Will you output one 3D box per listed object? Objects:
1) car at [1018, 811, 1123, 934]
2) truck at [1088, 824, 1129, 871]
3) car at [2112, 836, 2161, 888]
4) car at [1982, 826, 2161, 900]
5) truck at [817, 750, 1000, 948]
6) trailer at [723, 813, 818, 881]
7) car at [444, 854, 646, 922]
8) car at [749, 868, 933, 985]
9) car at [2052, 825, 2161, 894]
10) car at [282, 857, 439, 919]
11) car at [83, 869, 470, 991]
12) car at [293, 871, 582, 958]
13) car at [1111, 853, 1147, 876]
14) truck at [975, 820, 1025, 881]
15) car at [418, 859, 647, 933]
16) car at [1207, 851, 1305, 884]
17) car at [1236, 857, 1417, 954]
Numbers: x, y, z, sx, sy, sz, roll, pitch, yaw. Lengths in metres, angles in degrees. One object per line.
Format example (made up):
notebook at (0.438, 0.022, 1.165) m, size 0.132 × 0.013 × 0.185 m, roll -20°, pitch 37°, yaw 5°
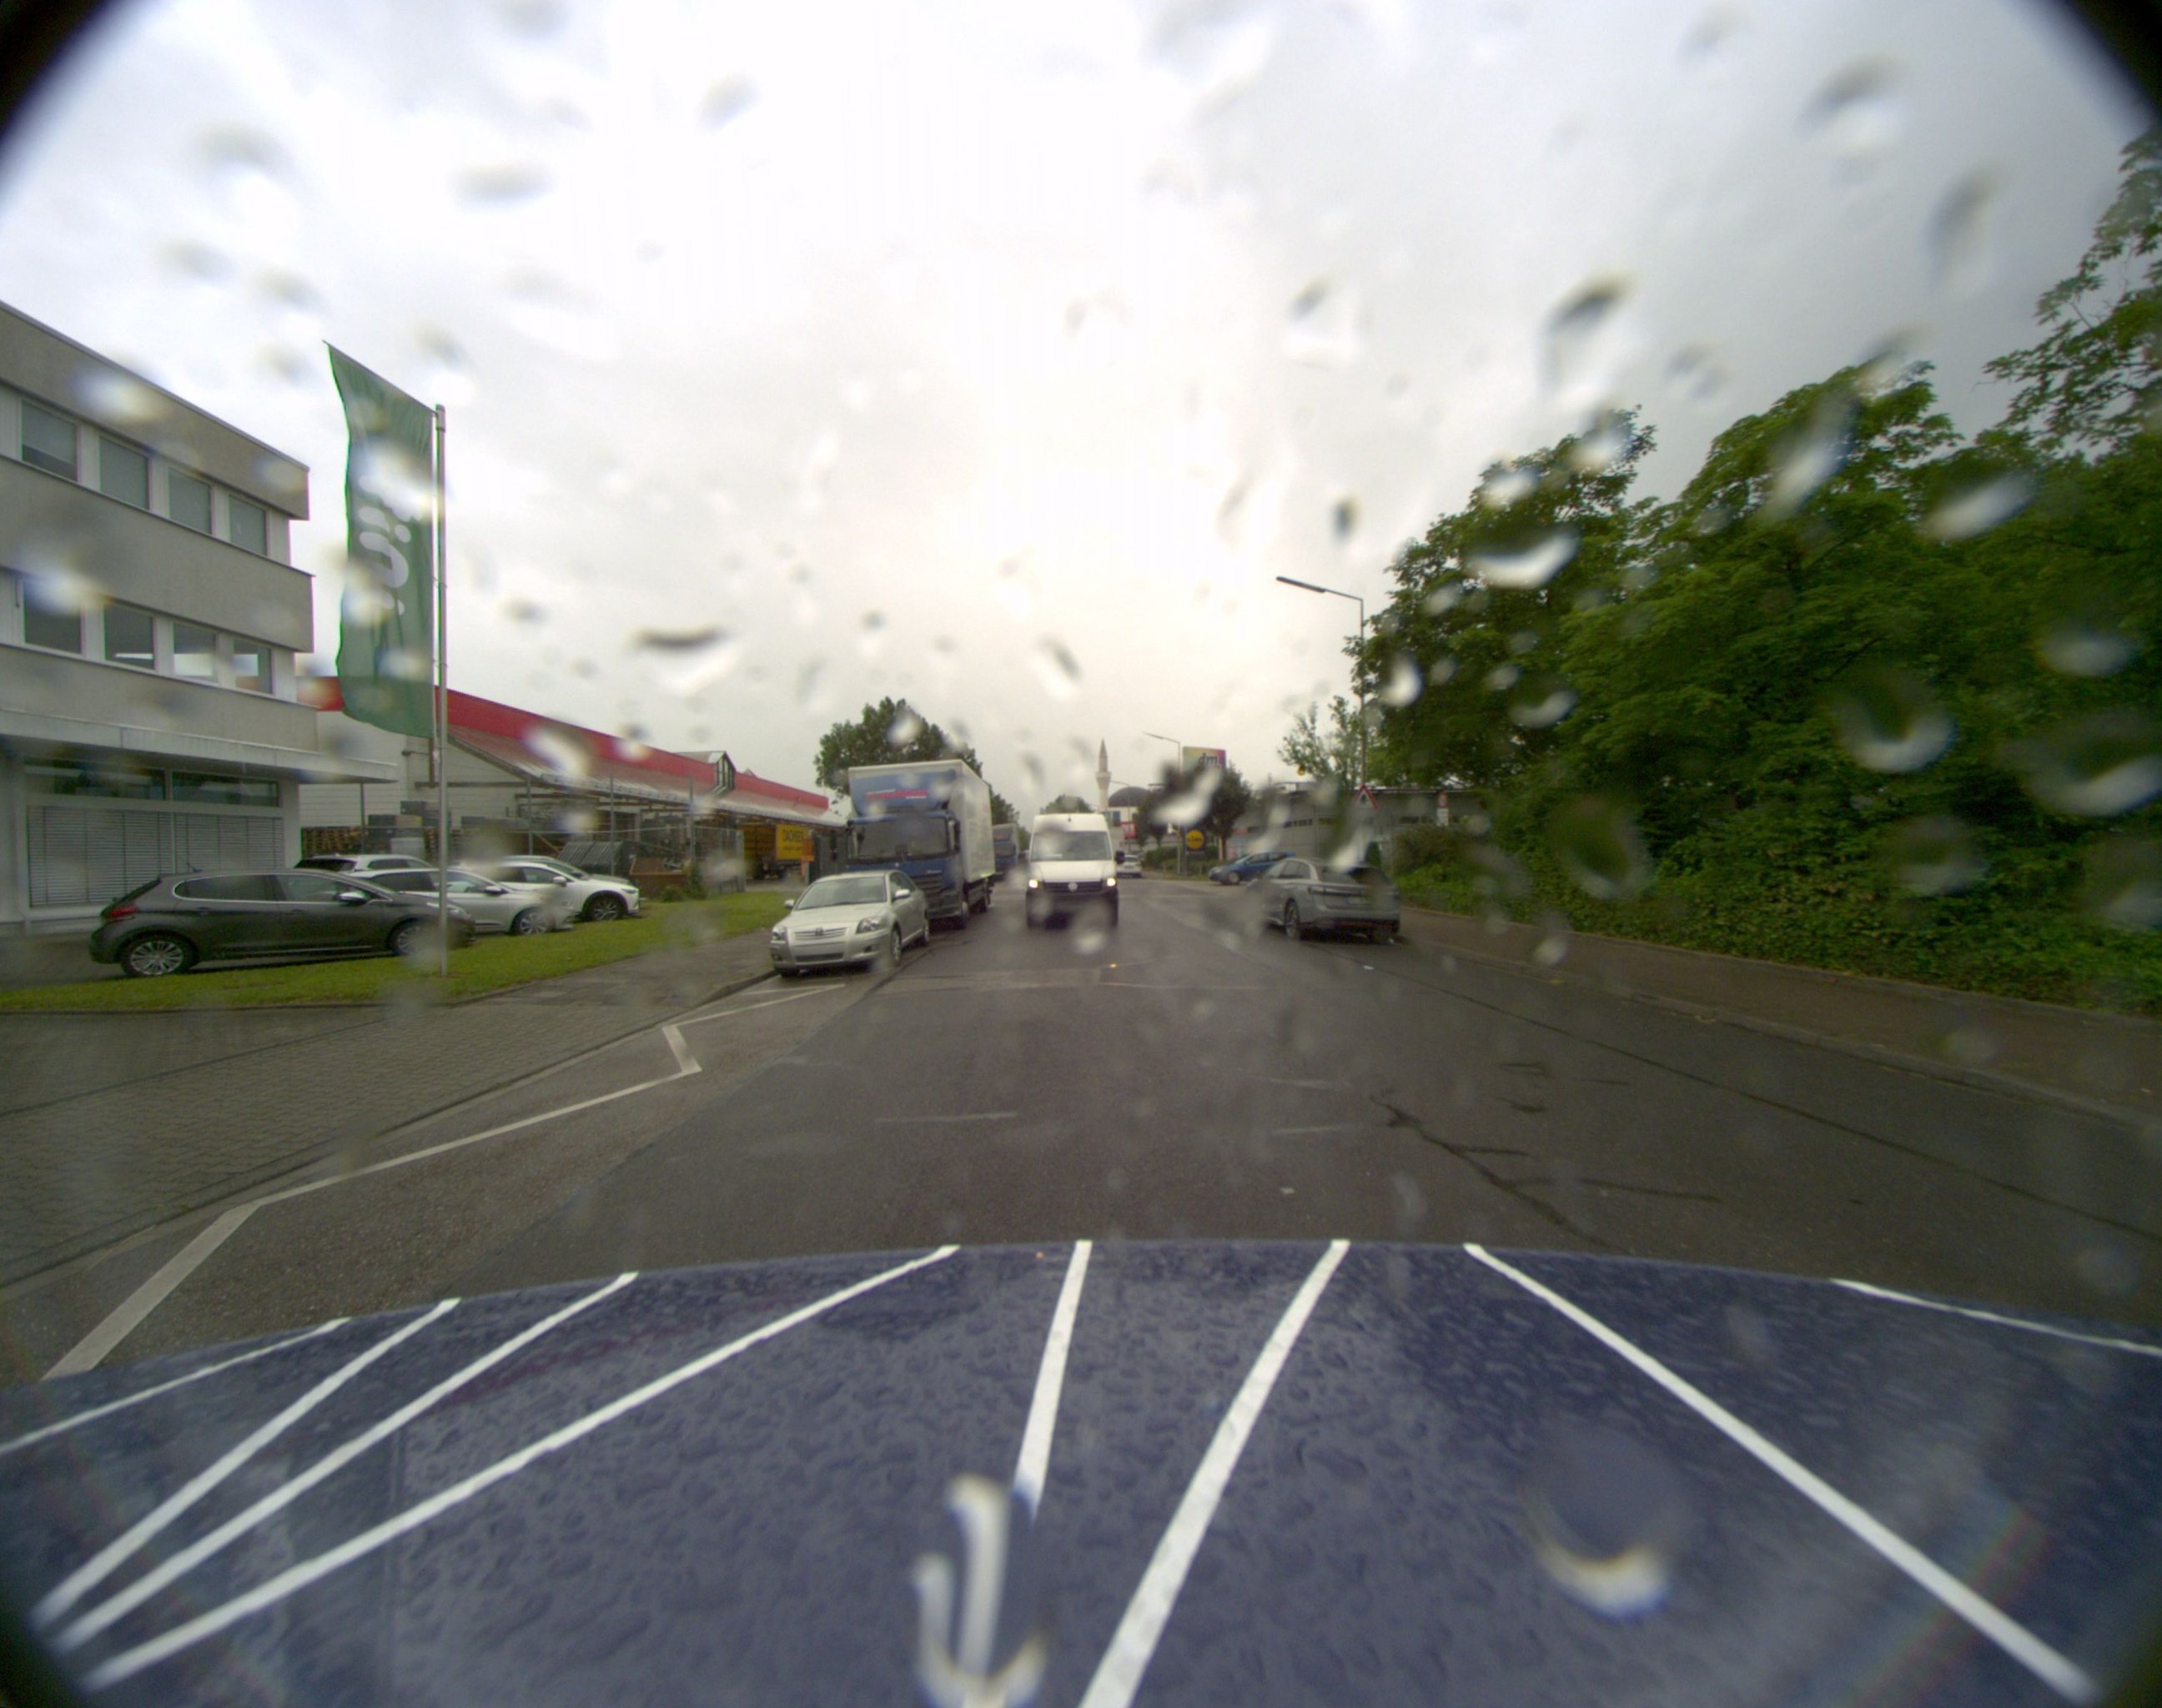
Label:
car at (-0.175, 0.360, 18.166) m, size 2.085 × 2.466 × 5.346 m, roll -1°, pitch 0°, yaw 1°
truck at (2.220, -0.560, 64.451) m, size 2.889 × 3.724 × 7.865 m, roll -1°, pitch 0°, yaw -2°
car at (31.472, 0.216, 20.412) m, size 2.000 × 1.477 × 3.996 m, roll -1°, pitch 0°, yaw -9°
car at (27.025, 0.200, 19.886) m, size 2.000 × 1.783 × 3.996 m, roll -1°, pitch 0°, yaw -9°
truck at (-3.911, -0.133, 19.781) m, size 2.748 × 3.767 × 9.296 m, roll -4°, pitch 1°, yaw -2°
trailer at (-20.903, -0.460, 51.916) m, size 2.975 × 4.218 × 9.467 m, roll -1°, pitch 0°, yaw -3°
car at (-13.978, 0.809, 19.967) m, size 1.868 × 1.518 × 4.008 m, roll 0°, pitch 1°, yaw 42°
car at (-3.657, 1.019, 12.439) m, size 1.802 × 1.433 × 4.343 m, roll -1°, pitch 0°, yaw -3°
car at (29.203, 0.130, 20.026) m, size 2.000 × 1.783 × 3.996 m, roll -1°, pitch 0°, yaw -9°
car at (-18.026, 0.799, 19.164) m, size 1.402 × 1.417 × 2.746 m, roll -1°, pitch 1°, yaw -3°
car at (-11.794, 0.992, 11.486) m, size 1.701 × 1.385 × 3.776 m, roll 1°, pitch 2°, yaw 44°
car at (-12.095, 1.040, 14.479) m, size 1.702 × 1.279 × 4.008 m, roll -1°, pitch 1°, yaw 43°
car at (3.104, 0.659, 50.025) m, size 1.841 × 1.426 × 4.490 m, roll 0°, pitch 0°, yaw -3°
truck at (-5.373, -0.248, 51.611) m, size 2.679 × 3.671 × 8.006 m, roll -4°, pitch 1°, yaw -3°
car at (-12.633, 0.879, 17.679) m, size 1.770 × 1.461 × 4.008 m, roll 0°, pitch 1°, yaw 43°
car at (7.826, 0.575, 34.229) m, size 3.998 × 1.432 × 1.736 m, roll 0°, pitch 0°, yaw -3°
car at (4.688, 0.894, 15.360) m, size 1.814 × 1.519 × 4.746 m, roll 3°, pitch 0°, yaw -3°
